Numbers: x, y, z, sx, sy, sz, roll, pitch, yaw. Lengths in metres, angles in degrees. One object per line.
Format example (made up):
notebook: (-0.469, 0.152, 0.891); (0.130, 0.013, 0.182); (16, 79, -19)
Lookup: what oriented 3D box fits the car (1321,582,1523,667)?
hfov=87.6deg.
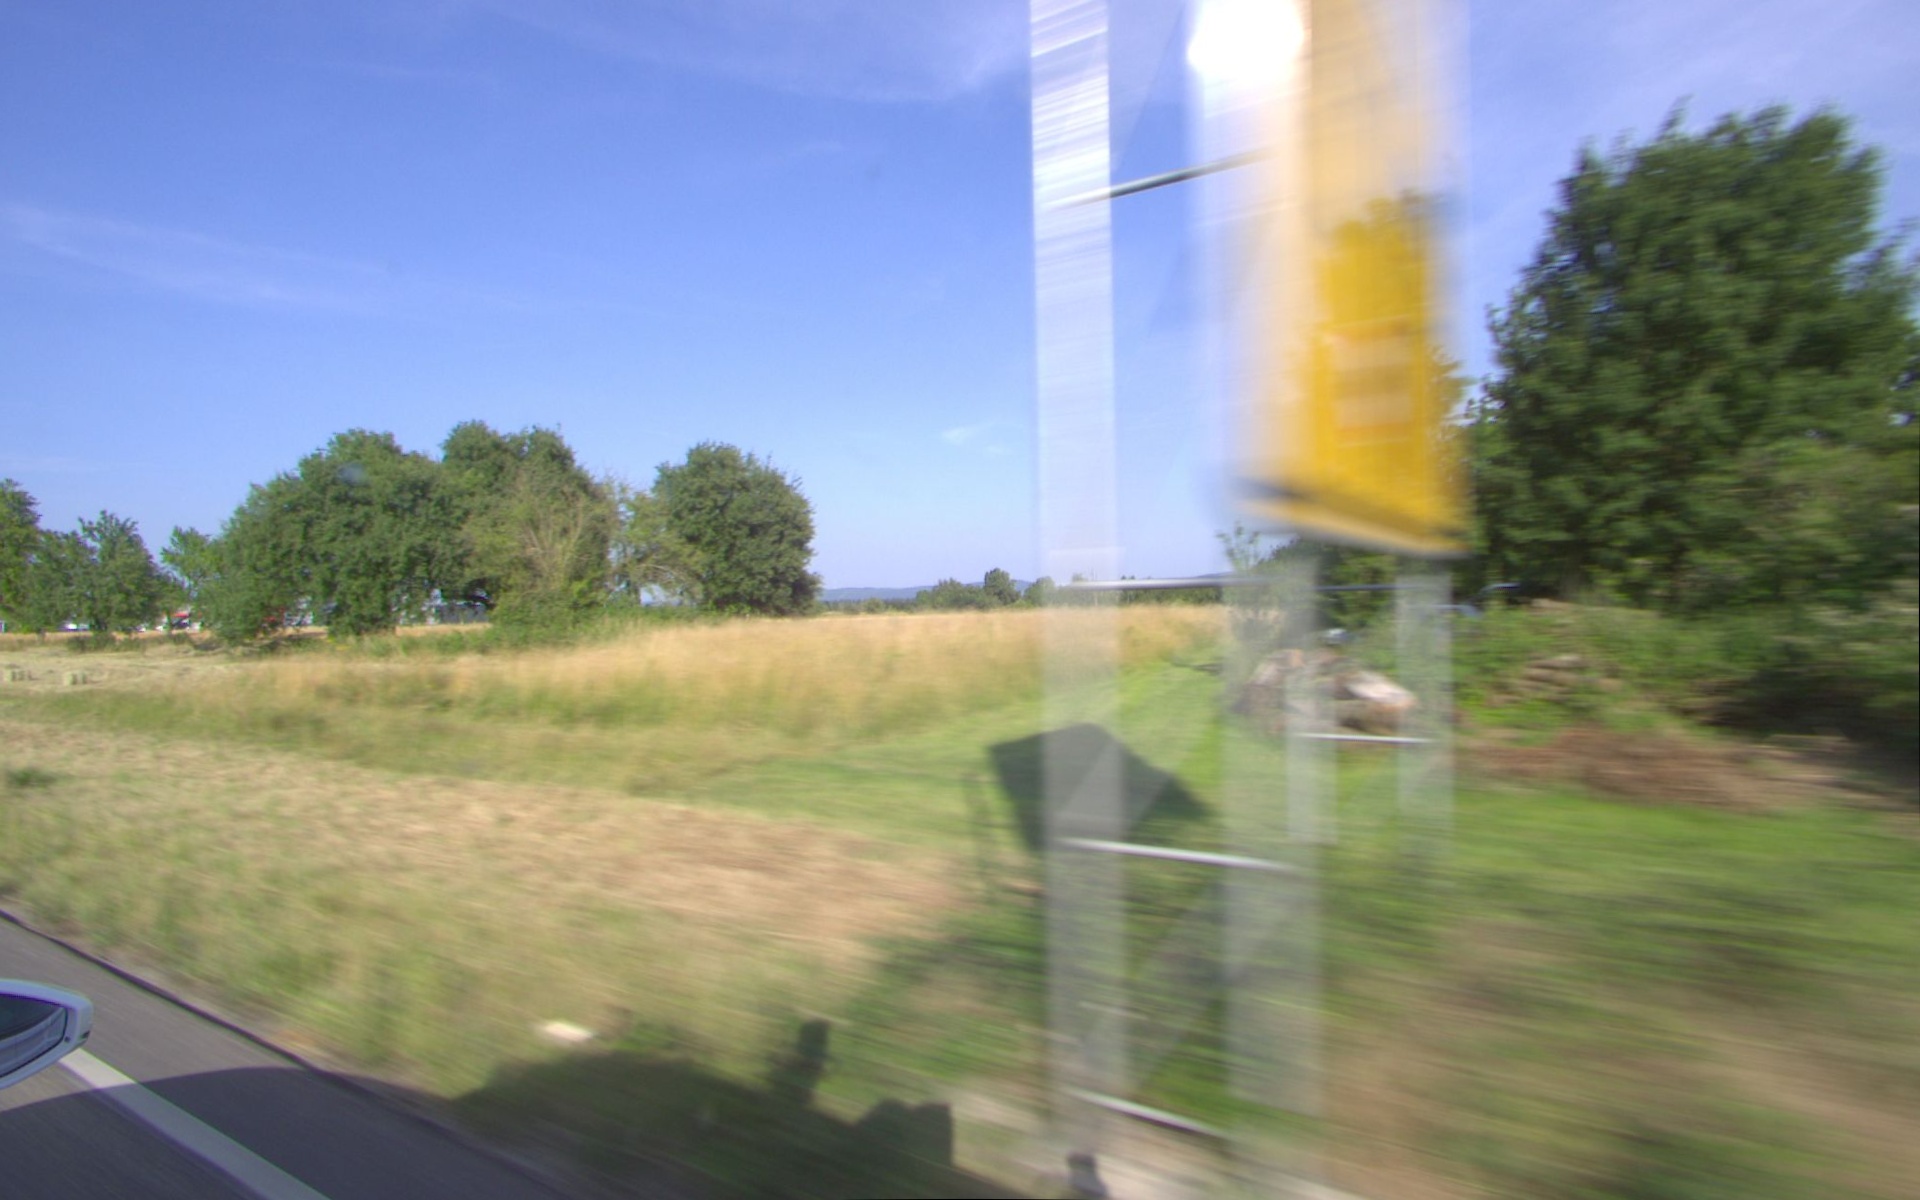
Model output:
car: (10.440, 0.552, 22.665); (3.943, 1.772, 1.990); (-1, -1, 32)
